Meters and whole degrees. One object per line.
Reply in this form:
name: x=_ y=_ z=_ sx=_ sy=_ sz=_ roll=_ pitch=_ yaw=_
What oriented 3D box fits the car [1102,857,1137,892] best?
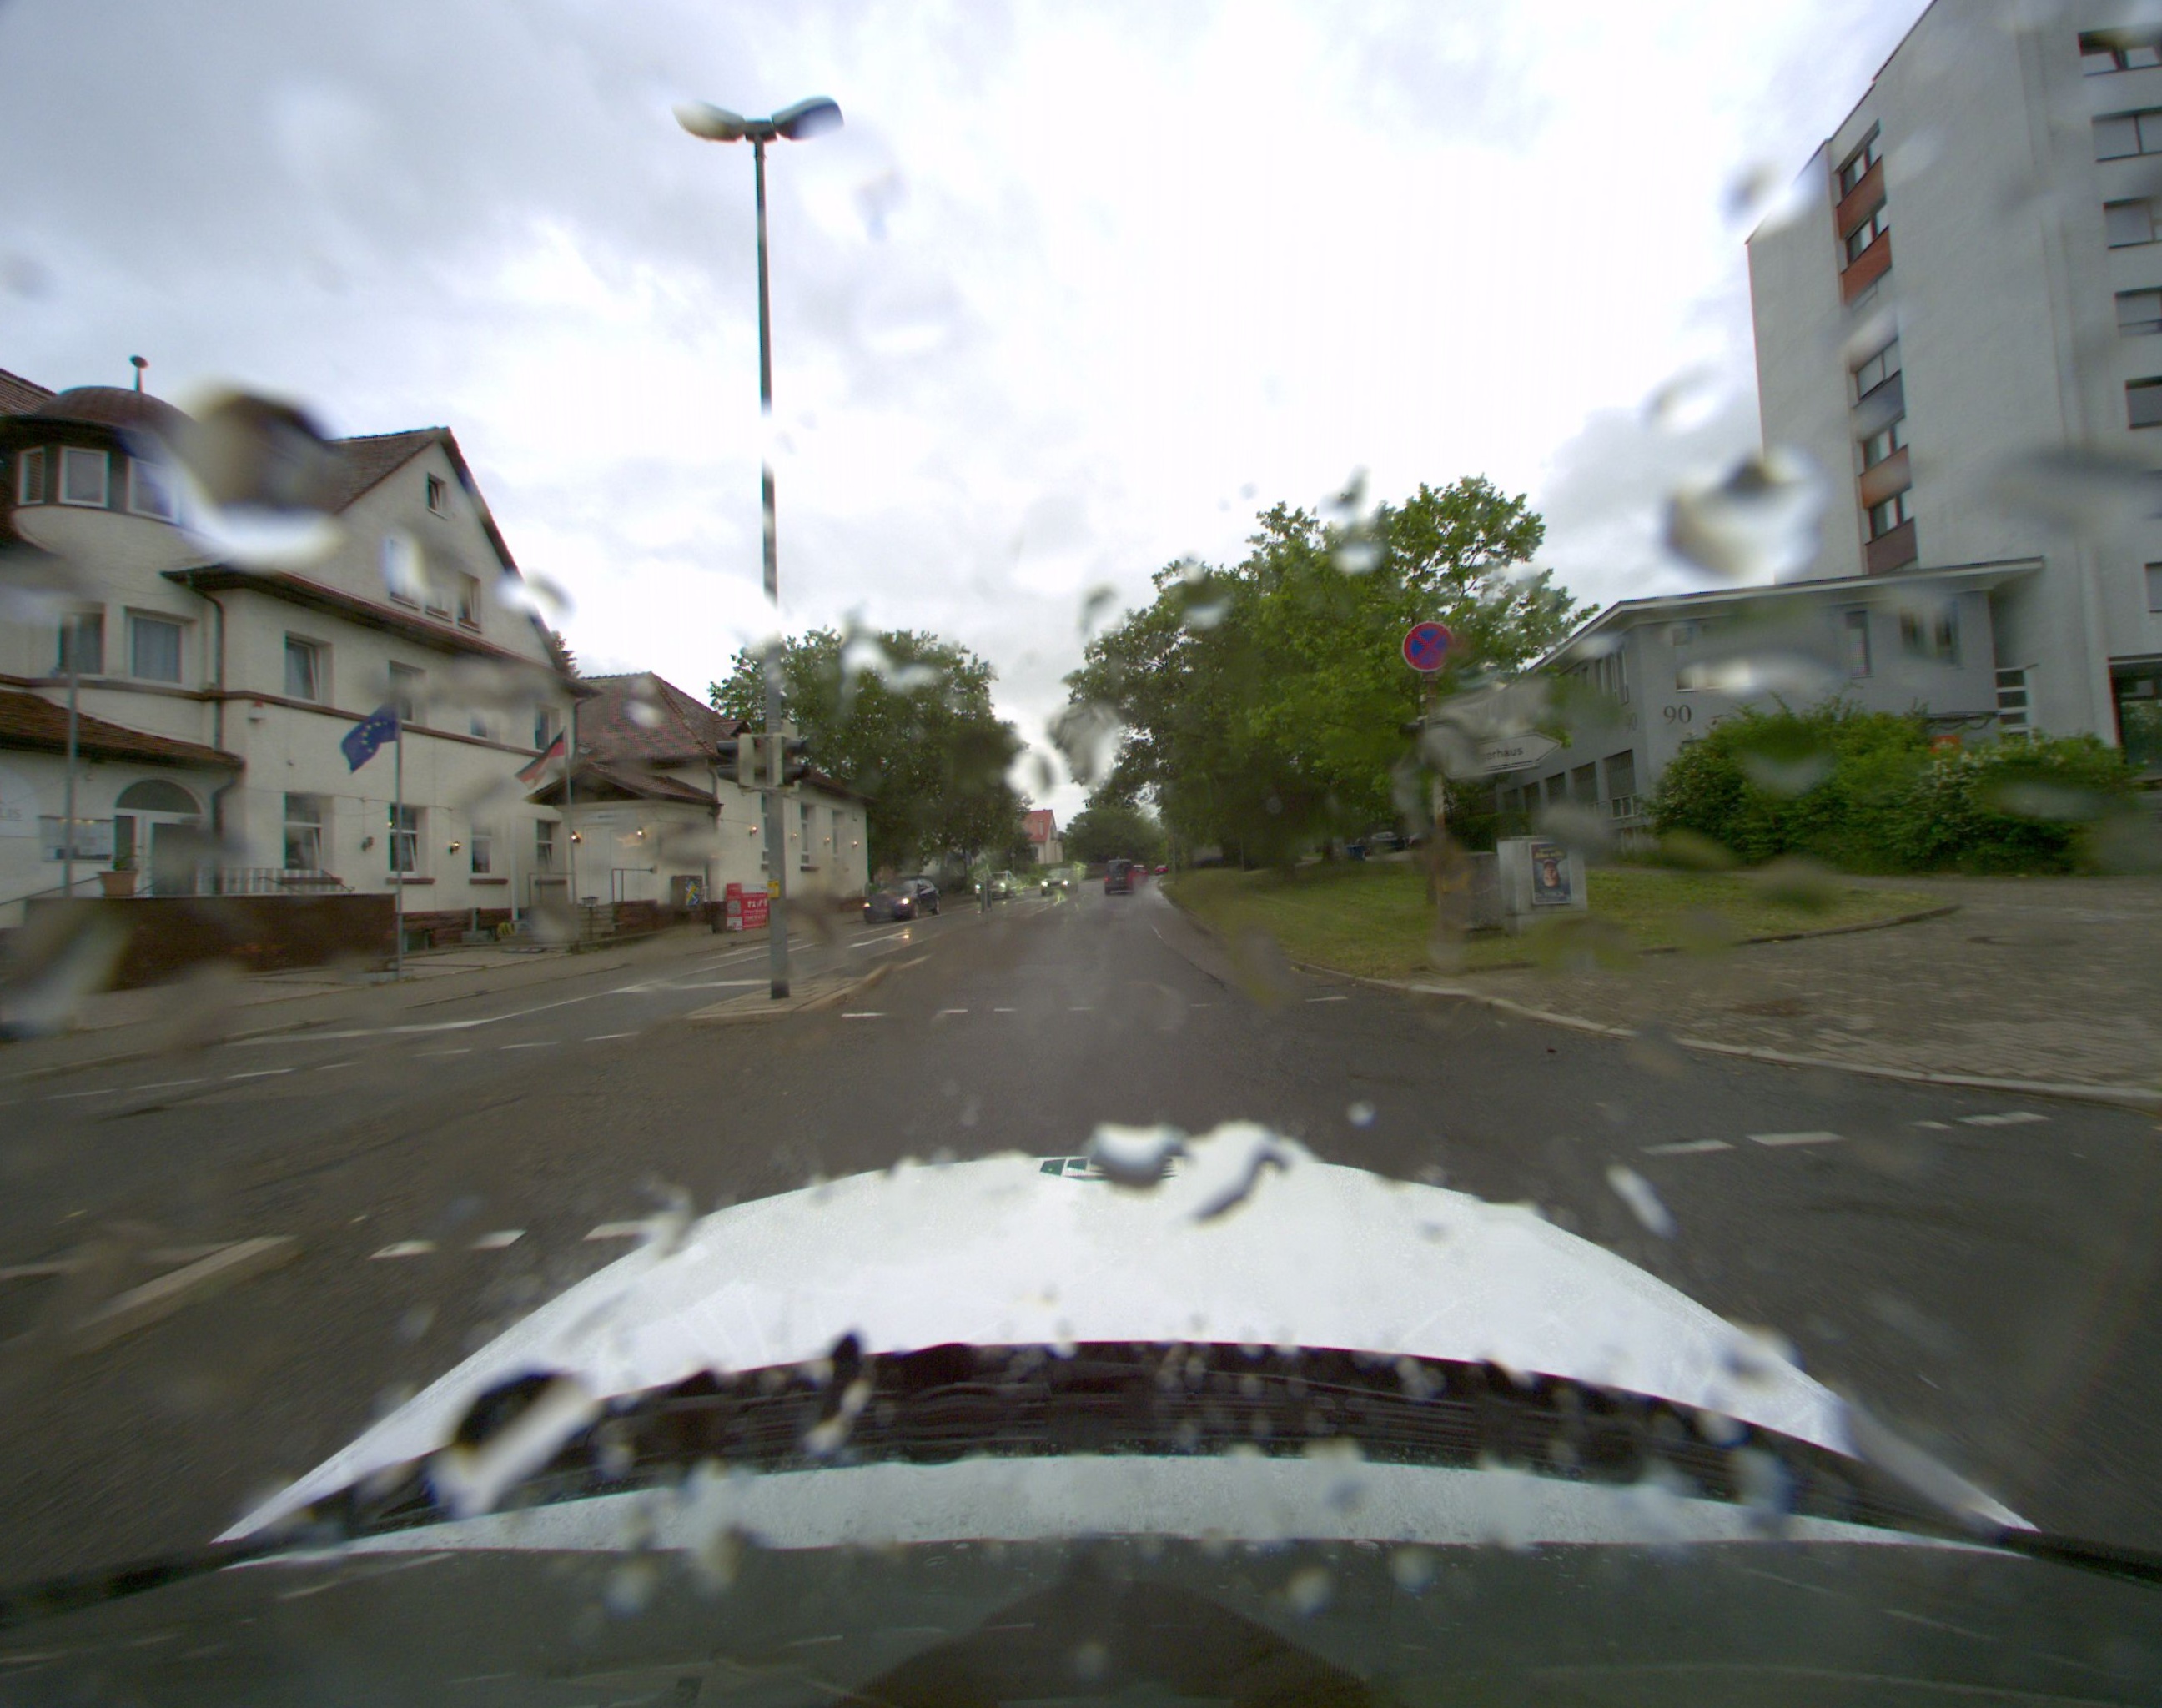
car: x=2.117 y=1.120 z=44.669 sx=1.805 sy=1.809 sz=3.759 roll=-1 pitch=-1 yaw=3

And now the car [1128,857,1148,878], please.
car: x=4.987 y=1.214 z=71.546 sx=1.698 sy=1.809 sz=3.687 roll=-1 pitch=-1 yaw=3

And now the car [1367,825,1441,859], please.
car: x=19.600 y=-0.701 z=49.570 sx=3.957 sy=1.931 sz=2.008 roll=-1 pitch=-1 yaw=15

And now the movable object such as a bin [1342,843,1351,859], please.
movable object such as a bin: x=15.104 y=-0.149 z=46.325 sx=0.446 sy=0.906 sz=0.465 roll=-1 pitch=-2 yaw=21

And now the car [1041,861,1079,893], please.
car: x=-1.182 y=1.276 z=46.844 sx=1.740 sy=1.671 sz=3.711 roll=-3 pitch=0 yaw=4

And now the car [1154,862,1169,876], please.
car: x=11.357 y=2.113 z=115.584 sx=1.985 sy=1.882 sz=4.004 roll=-1 pitch=-1 yaw=4

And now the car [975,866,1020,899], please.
car: x=-4.706 y=1.568 z=46.398 sx=1.822 sy=1.671 sz=4.055 roll=-3 pitch=0 yaw=4

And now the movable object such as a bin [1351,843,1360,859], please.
movable object such as a bin: x=15.544 y=-0.160 z=46.138 sx=0.446 sy=0.906 sz=0.465 roll=-1 pitch=-2 yaw=21

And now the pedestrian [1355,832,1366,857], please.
pedestrian: x=18.269 y=-0.625 z=53.275 sx=0.596 sy=1.617 sz=0.527 roll=-1 pitch=-2 yaw=12

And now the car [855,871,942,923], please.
car: x=-6.334 y=1.465 z=28.715 sx=1.785 sy=1.527 sz=4.213 roll=-3 pitch=0 yaw=4

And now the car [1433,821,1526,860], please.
car: x=20.470 y=-0.657 z=41.970 sx=3.958 sy=1.816 sz=2.007 roll=-1 pitch=-1 yaw=14

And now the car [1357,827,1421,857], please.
car: x=19.715 y=-0.760 z=52.270 sx=3.575 sy=1.816 sz=1.833 roll=-1 pitch=-1 yaw=11

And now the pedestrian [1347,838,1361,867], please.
pedestrian: x=16.911 y=-0.103 z=50.473 sx=0.555 sy=1.763 sz=0.728 roll=-1 pitch=-2 yaw=1
